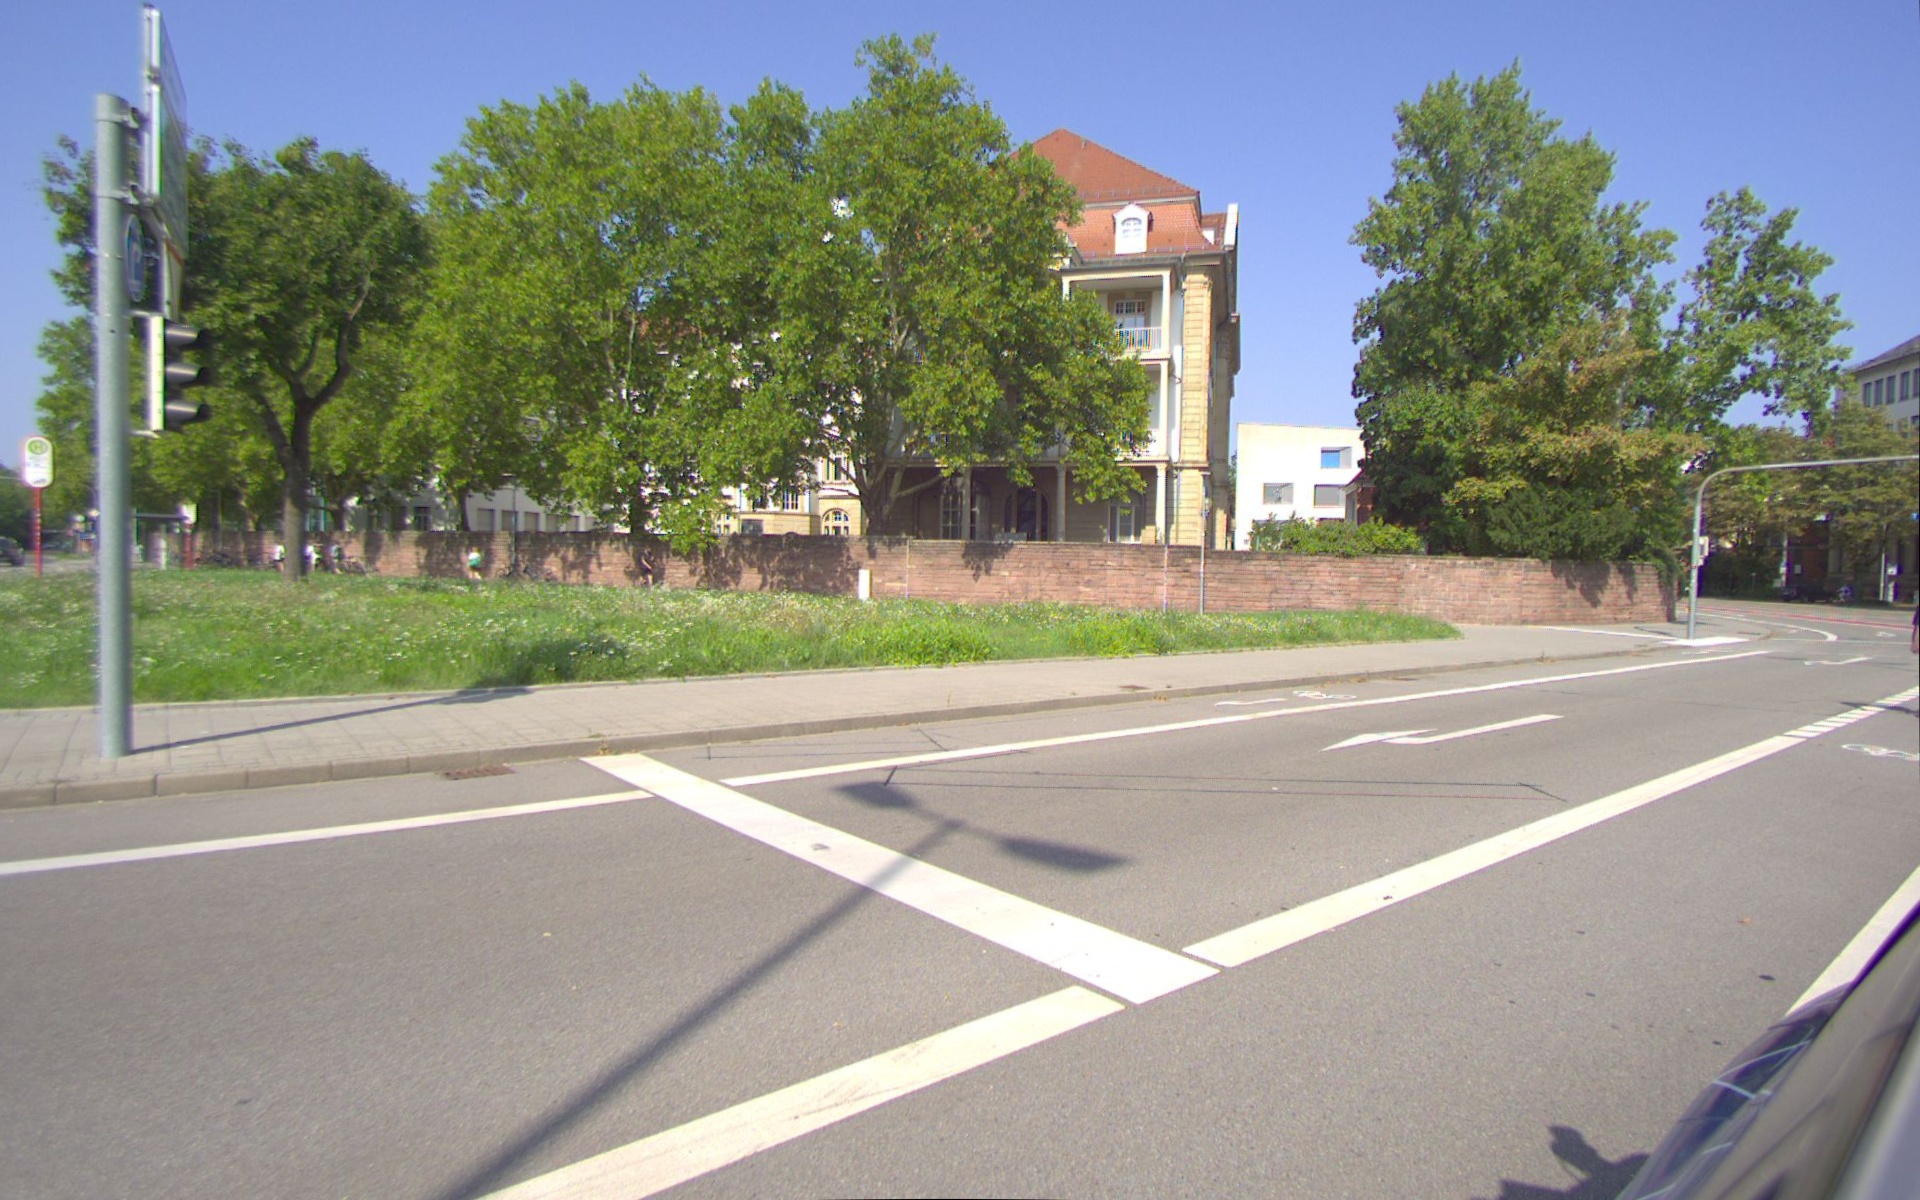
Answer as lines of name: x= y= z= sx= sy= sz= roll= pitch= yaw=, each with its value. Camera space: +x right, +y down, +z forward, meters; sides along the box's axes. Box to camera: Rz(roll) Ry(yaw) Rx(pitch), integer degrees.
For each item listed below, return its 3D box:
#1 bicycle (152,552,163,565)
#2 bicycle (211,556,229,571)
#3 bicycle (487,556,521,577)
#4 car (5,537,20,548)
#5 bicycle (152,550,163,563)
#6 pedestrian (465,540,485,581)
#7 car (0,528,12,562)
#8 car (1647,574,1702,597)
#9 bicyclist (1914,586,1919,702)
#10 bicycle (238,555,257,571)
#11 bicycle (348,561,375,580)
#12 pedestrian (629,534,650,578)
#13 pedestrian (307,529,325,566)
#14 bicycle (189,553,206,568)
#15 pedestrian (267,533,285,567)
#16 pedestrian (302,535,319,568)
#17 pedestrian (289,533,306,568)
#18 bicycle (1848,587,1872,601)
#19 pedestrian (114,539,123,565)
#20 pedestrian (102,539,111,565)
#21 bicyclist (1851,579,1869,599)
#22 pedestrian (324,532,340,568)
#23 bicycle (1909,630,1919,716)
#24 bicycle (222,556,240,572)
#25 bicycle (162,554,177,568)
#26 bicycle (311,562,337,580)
bicycle: x=-54.580 y=-2.827 z=68.802 sx=0.427 sy=0.845 sz=1.546 roll=-1 pitch=3 yaw=-44
bicycle: x=-42.278 y=-2.085 z=57.806 sx=1.542 sy=0.845 sz=0.428 roll=3 pitch=3 yaw=39
bicycle: x=-19.429 y=-1.417 z=43.110 sx=1.535 sy=0.845 sz=0.430 roll=2 pitch=2 yaw=27
car: x=-169.783 y=-10.300 z=181.298 sx=1.889 sy=1.838 sz=3.990 roll=-1 pitch=3 yaw=-45
bicycle: x=-56.123 y=-3.026 z=70.775 sx=0.427 sy=0.845 sz=1.546 roll=-1 pitch=3 yaw=-44
pedestrian: x=-20.241 y=-1.634 z=42.236 sx=0.589 sy=1.672 sz=0.478 roll=0 pitch=0 yaw=30
car: x=-63.480 y=-3.594 z=66.322 sx=1.889 sy=2.039 sz=3.988 roll=0 pitch=0 yaw=-45
car: x=54.657 y=-1.136 z=77.511 sx=1.970 sy=1.629 sz=4.232 roll=-1 pitch=2 yaw=13
bicyclist: x=12.344 y=0.457 z=12.419 sx=0.973 sy=1.598 sz=0.773 roll=0 pitch=3 yaw=-41
bicycle: x=-38.932 y=-2.006 z=55.292 sx=1.542 sy=0.845 sz=0.428 roll=3 pitch=3 yaw=39
bicycle: x=-28.418 y=-1.417 z=48.028 sx=1.537 sy=0.845 sz=0.429 roll=3 pitch=2 yaw=30
pedestrian: x=-12.243 y=-1.685 z=38.697 sx=0.587 sy=1.672 sz=0.480 roll=0 pitch=0 yaw=21
pedestrian: x=-29.696 y=-2.411 z=46.661 sx=0.590 sy=1.672 sz=0.513 roll=0 pitch=0 yaw=34
bicycle: x=-45.540 y=-2.347 z=60.445 sx=1.542 sy=0.845 sz=0.428 roll=3 pitch=3 yaw=39
pedestrian: x=-32.388 y=-2.346 z=47.924 sx=0.498 sy=1.591 sz=0.529 roll=0 pitch=0 yaw=32
pedestrian: x=-31.677 y=-2.357 z=49.339 sx=0.498 sy=1.591 sz=0.529 roll=0 pitch=0 yaw=32
pedestrian: x=-31.985 y=-2.367 z=48.873 sx=0.590 sy=1.672 sz=0.477 roll=0 pitch=0 yaw=34
bicycle: x=63.419 y=-0.437 z=71.310 sx=0.660 sy=0.968 sz=2.070 roll=2 pitch=3 yaw=25
pedestrian: x=-58.865 y=-3.345 z=70.758 sx=0.477 sy=1.762 sz=0.504 roll=0 pitch=0 yaw=-40
pedestrian: x=-59.095 y=-3.337 z=70.055 sx=0.477 sy=1.762 sz=0.504 roll=0 pitch=0 yaw=-40
bicyclist: x=63.416 y=-0.780 z=71.278 sx=0.660 sy=1.356 sz=0.917 roll=2 pitch=2 yaw=26
pedestrian: x=-29.441 y=-2.350 z=47.442 sx=0.590 sy=1.672 sz=0.477 roll=0 pitch=0 yaw=34
bicycle: x=12.290 y=0.874 z=12.363 sx=2.112 sy=0.988 sz=0.773 roll=-1 pitch=3 yaw=-41
bicycle: x=-40.889 y=-2.010 z=56.735 sx=1.542 sy=0.845 sz=0.428 roll=3 pitch=3 yaw=39
bicycle: x=-50.989 y=-2.519 z=65.298 sx=1.543 sy=0.845 sz=0.428 roll=3 pitch=3 yaw=39
bicycle: x=-31.286 y=-1.419 z=49.765 sx=1.537 sy=0.845 sz=0.429 roll=3 pitch=2 yaw=30
